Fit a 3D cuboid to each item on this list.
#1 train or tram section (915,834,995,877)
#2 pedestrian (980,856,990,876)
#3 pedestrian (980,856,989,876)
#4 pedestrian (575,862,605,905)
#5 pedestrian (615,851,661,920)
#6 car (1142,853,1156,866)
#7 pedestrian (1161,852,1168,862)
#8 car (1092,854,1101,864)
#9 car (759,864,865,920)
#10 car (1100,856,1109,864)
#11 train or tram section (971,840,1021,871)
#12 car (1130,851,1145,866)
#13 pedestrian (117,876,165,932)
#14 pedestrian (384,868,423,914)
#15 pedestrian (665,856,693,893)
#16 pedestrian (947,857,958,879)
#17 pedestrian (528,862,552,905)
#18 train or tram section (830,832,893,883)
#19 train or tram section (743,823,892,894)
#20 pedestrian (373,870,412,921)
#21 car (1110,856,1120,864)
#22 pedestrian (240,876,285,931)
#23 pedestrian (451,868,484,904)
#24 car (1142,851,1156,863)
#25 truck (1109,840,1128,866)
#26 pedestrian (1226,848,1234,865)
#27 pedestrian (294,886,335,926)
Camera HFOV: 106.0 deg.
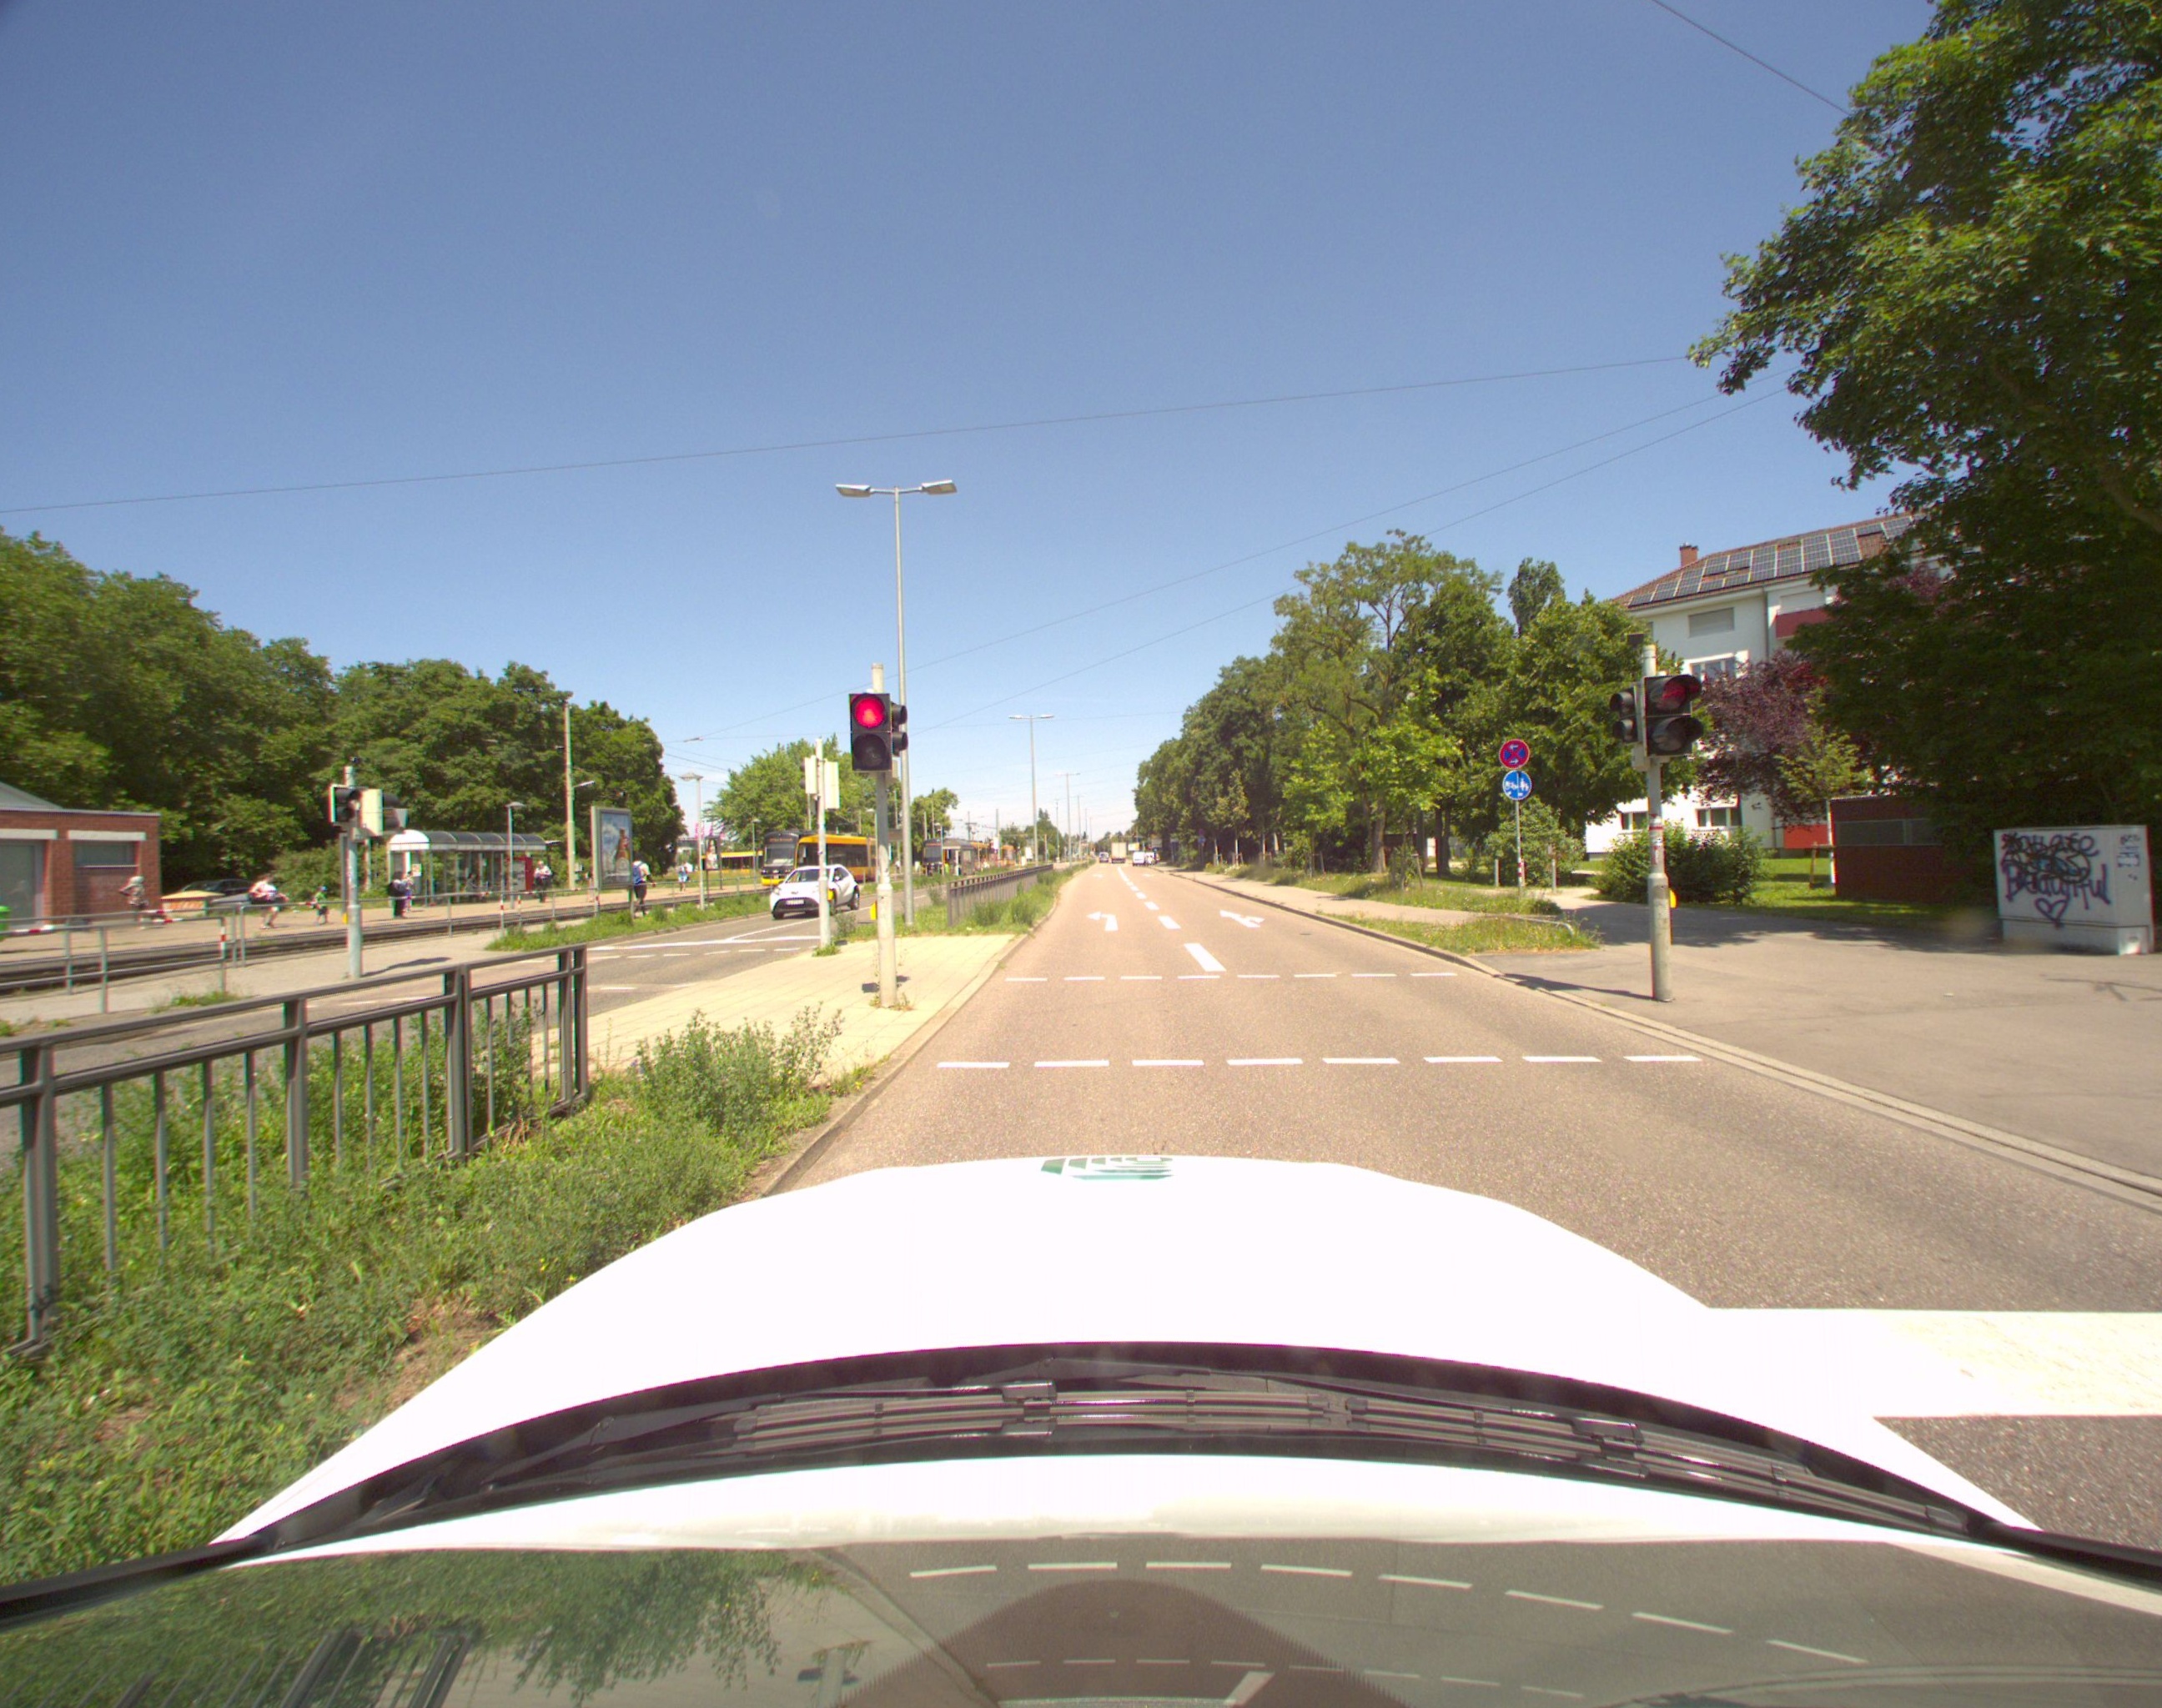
[{"bbox_3d":[-12.767,0.168,87.266,2.947,3.749,30.041,-2,0,2],"label":"train or tram section"},{"bbox_3d":[-9.912,1.246,84.069,0.812,2.013,0.939,-2,0,1],"label":"pedestrian"},{"bbox_3d":[-10.132,1.259,85.369,0.812,2.013,0.939,-2,0,1],"label":"pedestrian"},{"bbox_3d":[-21.216,1.253,35.187,0.715,1.777,0.843,3,2,1],"label":"pedestrian"},{"bbox_3d":[-12.045,0.849,22.157,0.715,1.777,0.843,3,2,1],"label":"pedestrian"},{"bbox_3d":[9.384,0.728,112.424,1.773,1.668,4.002,-2,0,2],"label":"car"},{"bbox_3d":[16.724,0.595,163.128,1.180,2.013,1.214,-2,0,1],"label":"pedestrian"},{"bbox_3d":[3.322,1.112,175.335,1.986,2.013,4.002,-2,0,2],"label":"car"},{"bbox_3d":[-8.131,1.095,25.006,1.838,1.494,3.793,-2,0,2],"label":"car"},{"bbox_3d":[4.555,1.185,158.009,1.804,1.464,4.002,-2,0,2],"label":"car"},{"bbox_3d":[-11.902,0.238,118.784,2.920,3.789,33.097,-2,0,2],"label":"train or tram section"},{"bbox_3d":[7.295,0.571,105.542,1.773,1.903,4.002,-2,0,2],"label":"car"},{"bbox_3d":[-25.995,1.369,22.521,0.636,1.480,0.570,-2,0,1],"label":"pedestrian"},{"bbox_3d":[-24.325,1.316,29.246,0.669,1.590,0.808,-2,0,1],"label":"pedestrian"},{"bbox_3d":[-22.433,1.157,45.479,0.977,2.013,1.021,-2,0,1],"label":"pedestrian"},{"bbox_3d":[-10.980,1.206,69.732,0.783,1.868,0.818,-2,0,1],"label":"pedestrian"},{"bbox_3d":[-23.290,1.272,35.035,0.725,1.800,0.835,-1,-1,-41],"label":"pedestrian"},{"bbox_3d":[-19.789,0.377,72.201,3.228,3.931,18.364,-2,0,-22],"label":"train or tram section"},{"bbox_3d":[-17.012,0.237,55.156,3.203,3.931,18.511,-2,0,2],"label":"train or tram section"},{"bbox_3d":[-21.614,1.287,25.586,0.635,1.555,0.691,-2,0,-11],"label":"pedestrian"},{"bbox_3d":[6.484,1.158,153.691,1.804,1.464,4.002,-2,0,2],"label":"car"},{"bbox_3d":[-22.738,1.367,22.624,0.636,1.456,0.583,-2,0,1],"label":"pedestrian"},{"bbox_3d":[-26.283,1.374,34.898,0.836,1.511,0.723,-2,0,12],"label":"pedestrian"},{"bbox_3d":[9.905,0.471,118.765,1.773,1.668,4.002,-2,0,2],"label":"car"},{"bbox_3d":[6.769,-0.156,146.140,3.193,4.359,6.563,-2,0,2],"label":"truck"},{"bbox_3d":[12.597,0.228,68.722,0.600,1.438,0.557,-2,0,8],"label":"pedestrian"},{"bbox_3d":[-22.453,1.517,23.869,0.636,1.124,0.570,-2,0,1],"label":"pedestrian"}]
